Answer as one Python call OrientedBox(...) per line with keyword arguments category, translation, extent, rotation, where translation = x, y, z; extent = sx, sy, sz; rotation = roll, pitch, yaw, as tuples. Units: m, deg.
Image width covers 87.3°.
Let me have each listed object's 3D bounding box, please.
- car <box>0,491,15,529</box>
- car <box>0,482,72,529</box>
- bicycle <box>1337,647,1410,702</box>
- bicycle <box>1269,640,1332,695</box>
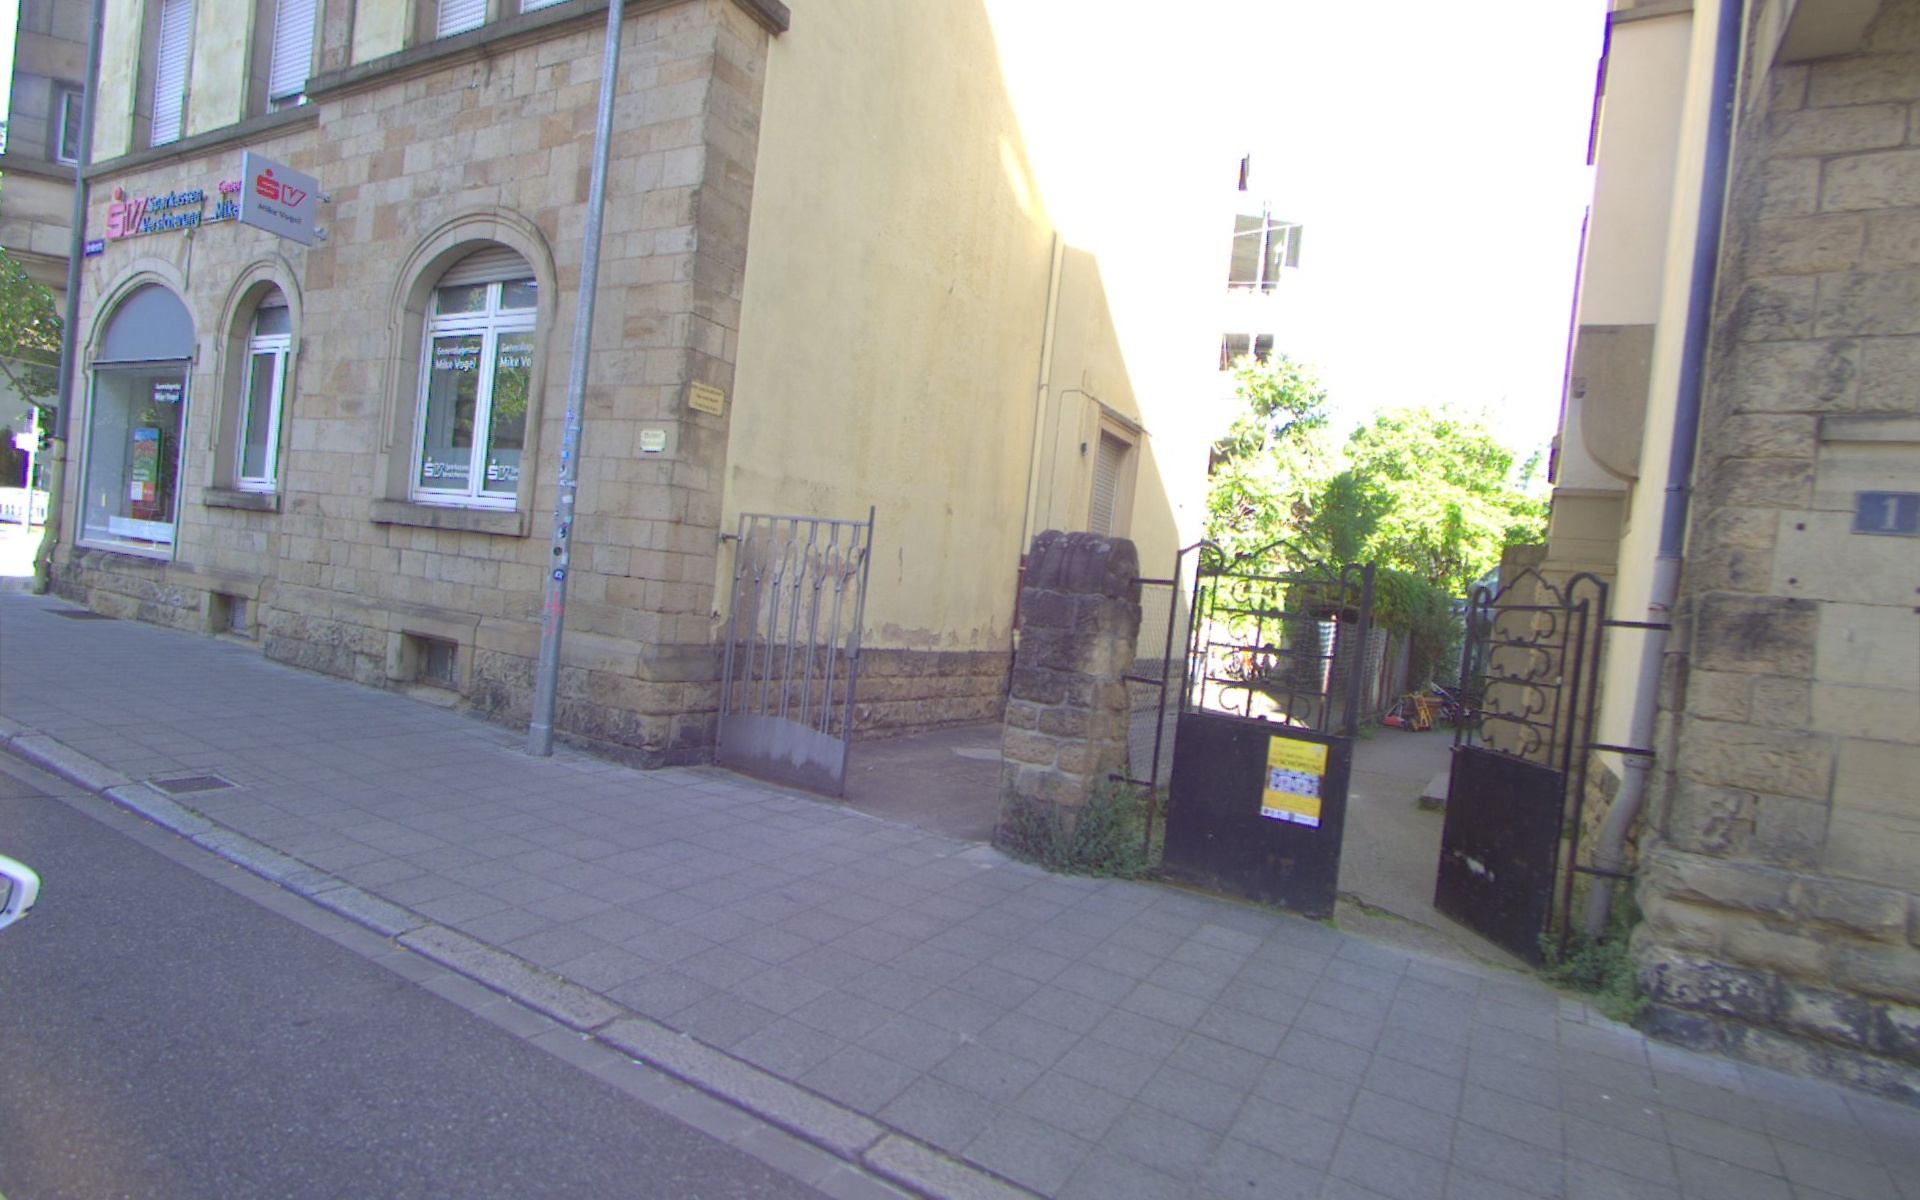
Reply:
OrientedBox(category="car", translation=(-40.394, -3.810, 40.316), extent=(1.496, 1.506, 3.391), rotation=(7, 1, 10))
OrientedBox(category="car", translation=(-35.000, -3.550, 36.595), extent=(1.598, 1.491, 3.800), rotation=(7, 1, 11))
OrientedBox(category="bicycle", translation=(10.518, 1.874, 25.715), extent=(0.855, 1.124, 2.863), rotation=(7, 0, 7))
OrientedBox(category="bicycle", translation=(8.829, 1.710, 26.178), extent=(0.860, 1.180, 2.659), rotation=(7, 1, 6))
